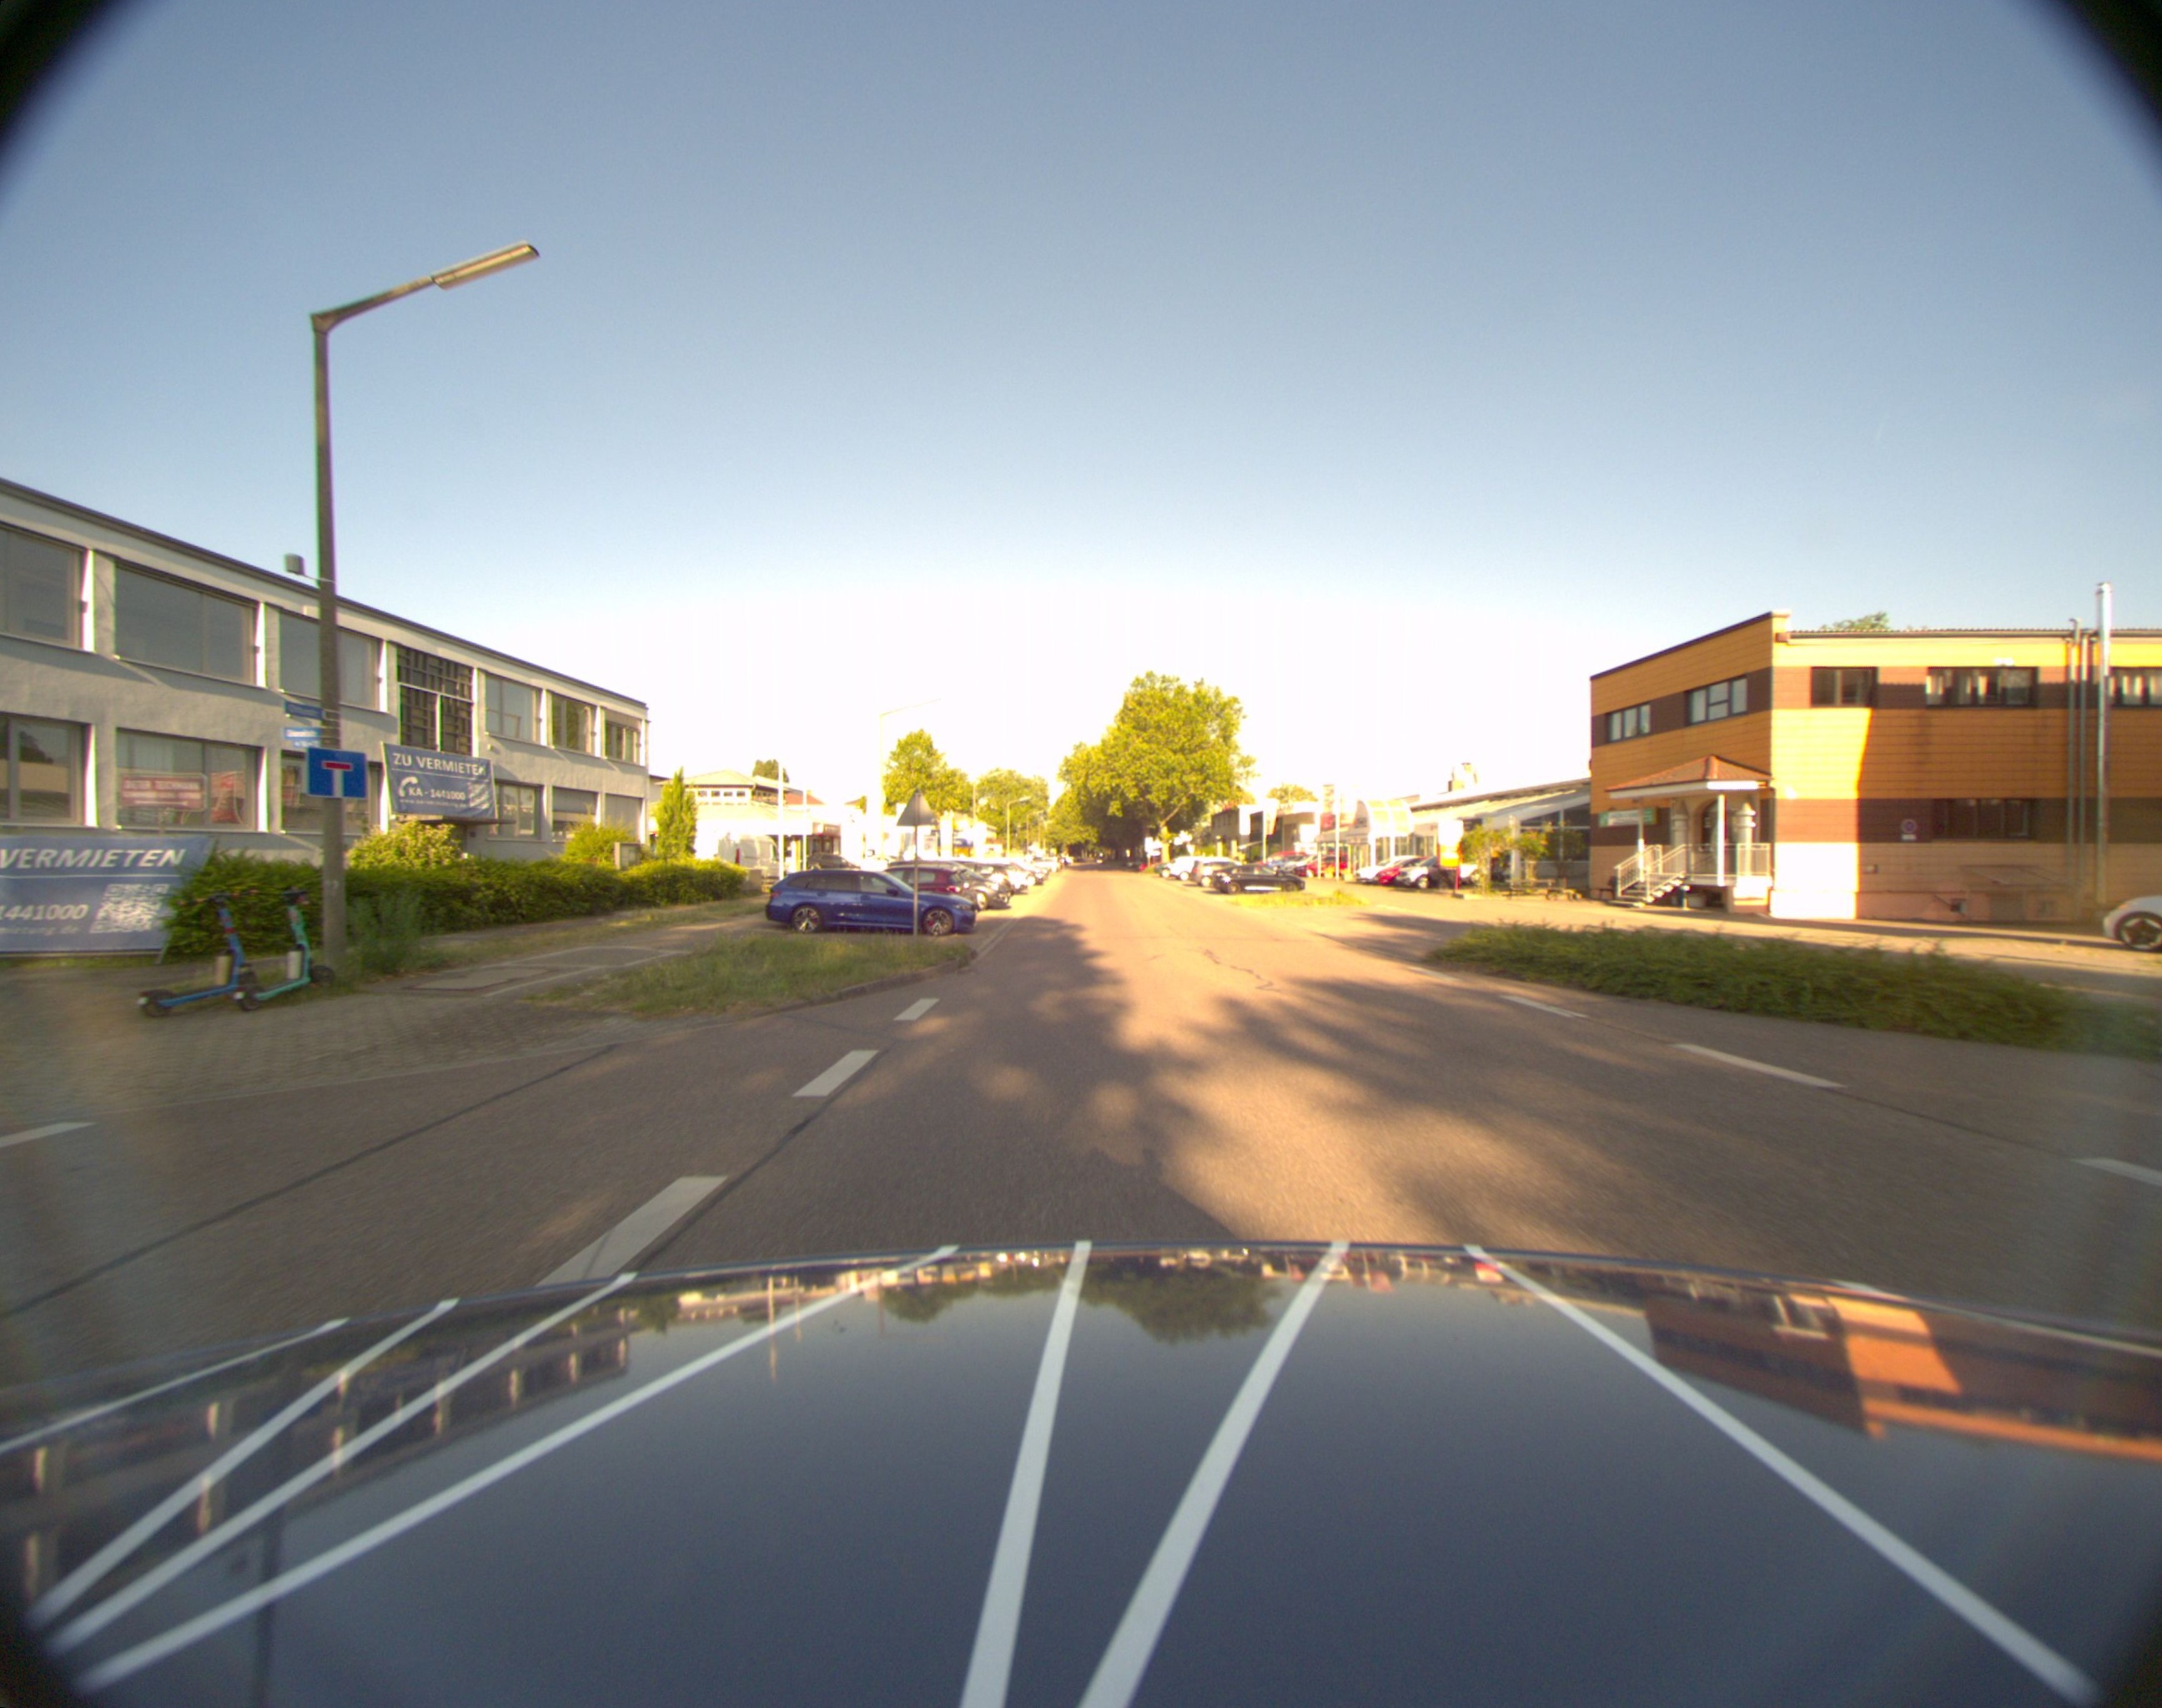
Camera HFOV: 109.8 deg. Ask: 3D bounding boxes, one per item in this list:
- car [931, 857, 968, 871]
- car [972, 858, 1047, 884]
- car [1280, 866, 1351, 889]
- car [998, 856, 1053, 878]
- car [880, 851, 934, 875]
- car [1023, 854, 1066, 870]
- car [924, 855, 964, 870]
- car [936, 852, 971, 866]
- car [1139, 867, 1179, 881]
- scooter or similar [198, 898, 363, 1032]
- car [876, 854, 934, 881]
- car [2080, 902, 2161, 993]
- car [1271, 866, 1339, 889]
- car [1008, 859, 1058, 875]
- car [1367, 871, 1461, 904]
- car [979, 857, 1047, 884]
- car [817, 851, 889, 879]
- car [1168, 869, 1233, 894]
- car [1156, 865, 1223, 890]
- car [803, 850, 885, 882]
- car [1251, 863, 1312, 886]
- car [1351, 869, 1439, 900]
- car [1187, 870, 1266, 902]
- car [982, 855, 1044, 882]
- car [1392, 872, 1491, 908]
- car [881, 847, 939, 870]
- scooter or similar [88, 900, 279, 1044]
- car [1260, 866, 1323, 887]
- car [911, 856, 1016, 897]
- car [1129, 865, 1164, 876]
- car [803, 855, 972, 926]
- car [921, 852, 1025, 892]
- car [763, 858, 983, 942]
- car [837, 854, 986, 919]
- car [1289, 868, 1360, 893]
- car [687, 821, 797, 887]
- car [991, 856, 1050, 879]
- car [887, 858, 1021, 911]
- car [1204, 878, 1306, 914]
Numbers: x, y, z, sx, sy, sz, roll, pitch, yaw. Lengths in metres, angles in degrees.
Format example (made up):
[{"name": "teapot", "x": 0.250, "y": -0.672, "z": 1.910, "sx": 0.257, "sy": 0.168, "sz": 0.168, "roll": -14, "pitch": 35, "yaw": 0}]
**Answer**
[{"name": "car", "x": -15.426, "y": 1.140, "z": 89.192, "sx": 3.998, "sy": 1.510, "sz": 1.952, "roll": -1, "pitch": 0, "yaw": -4}, {"name": "car", "x": -4.432, "y": 1.037, "z": 47.605, "sx": 4.448, "sy": 1.427, "sz": 2.135, "roll": 2, "pitch": 0, "yaw": 0}, {"name": "car", "x": 17.577, "y": 1.768, "z": 57.132, "sx": 4.673, "sy": 1.583, "sz": 1.928, "roll": -1, "pitch": 0, "yaw": -1}, {"name": "car", "x": -4.132, "y": 0.960, "z": 56.967, "sx": 3.998, "sy": 1.578, "sz": 1.867, "roll": 1, "pitch": 0, "yaw": -3}, {"name": "car", "x": -14.331, "y": 0.776, "z": 62.767, "sx": 3.943, "sy": 1.886, "sz": 2.203, "roll": -1, "pitch": -2, "yaw": 0}, {"name": "car", "x": -4.113, "y": 0.892, "z": 85.761, "sx": 4.612, "sy": 1.604, "sz": 2.000, "roll": 3, "pitch": 1, "yaw": 0}, {"name": "car", "x": -14.897, "y": 0.952, "z": 82.862, "sx": 3.998, "sy": 1.510, "sz": 1.999, "roll": -1, "pitch": 0, "yaw": -4}, {"name": "car", "x": -15.477, "y": 0.595, "z": 92.368, "sx": 3.998, "sy": 1.488, "sz": 1.999, "roll": -1, "pitch": 0, "yaw": -4}, {"name": "car", "x": 8.758, "y": 2.245, "z": 85.666, "sx": 4.307, "sy": 1.438, "sz": 2.000, "roll": -2, "pitch": 1, "yaw": 0}, {"name": "scooter or similar", "x": -8.812, "y": 1.176, "z": 8.430, "sx": 0.443, "sy": 1.291, "sz": 1.295, "roll": -1, "pitch": 1, "yaw": -2}, {"name": "car", "x": -13.321, "y": 1.015, "z": 57.673, "sx": 3.912, "sy": 1.888, "sz": 1.786, "roll": 0, "pitch": 2, "yaw": 0}, {"name": "car", "x": 20.280, "y": 1.639, "z": 12.477, "sx": 1.998, "sy": 1.567, "sz": 4.342, "roll": -1, "pitch": -2, "yaw": 0}, {"name": "car", "x": 17.491, "y": 1.847, "z": 59.488, "sx": 4.731, "sy": 1.633, "sz": 2.000, "roll": -1, "pitch": 0, "yaw": -1}, {"name": "car", "x": -4.029, "y": 1.095, "z": 64.252, "sx": 3.996, "sy": 1.288, "sz": 1.784, "roll": 1, "pitch": 0, "yaw": 3}, {"name": "car", "x": 17.266, "y": 1.730, "z": 39.546, "sx": 3.997, "sy": 1.546, "sz": 2.000, "roll": -1, "pitch": 0, "yaw": 0}, {"name": "car", "x": -4.412, "y": 1.070, "z": 49.600, "sx": 4.254, "sy": 1.596, "sz": 1.745, "roll": -1, "pitch": 1, "yaw": -4}, {"name": "car", "x": -14.592, "y": 0.707, "z": 48.784, "sx": 3.997, "sy": 1.650, "sz": 2.000, "roll": 2, "pitch": 1, "yaw": 1}, {"name": "car", "x": 8.685, "y": 2.014, "z": 55.646, "sx": 4.314, "sy": 1.646, "sz": 2.201, "roll": -1, "pitch": 1, "yaw": -2}, {"name": "car", "x": 9.037, "y": 1.928, "z": 63.735, "sx": 5.273, "sy": 1.887, "sz": 2.201, "roll": -1, "pitch": 1, "yaw": 0}, {"name": "car", "x": -14.067, "y": 0.715, "z": 45.262, "sx": 4.154, "sy": 1.761, "sz": 2.000, "roll": 2, "pitch": 1, "yaw": 1}, {"name": "car", "x": 17.682, "y": 1.799, "z": 67.132, "sx": 4.758, "sy": 1.809, "sz": 2.000, "roll": -1, "pitch": 1, "yaw": -1}, {"name": "car", "x": 17.340, "y": 1.655, "z": 42.114, "sx": 3.997, "sy": 1.546, "sz": 2.000, "roll": -1, "pitch": 0, "yaw": 0}, {"name": "car", "x": 8.575, "y": 1.880, "z": 45.049, "sx": 4.242, "sy": 1.646, "sz": 2.201, "roll": -1, "pitch": 1, "yaw": -2}, {"name": "car", "x": -4.599, "y": 0.973, "z": 52.092, "sx": 4.120, "sy": 1.729, "sz": 1.883, "roll": -1, "pitch": 1, "yaw": -3}, {"name": "car", "x": 17.522, "y": 1.731, "z": 37.082, "sx": 3.920, "sy": 1.546, "sz": 1.888, "roll": -1, "pitch": 0, "yaw": 0}, {"name": "car", "x": -14.808, "y": 0.369, "z": 66.006, "sx": 4.507, "sy": 1.887, "sz": 2.201, "roll": -1, "pitch": 1, "yaw": 0}, {"name": "scooter or similar", "x": -9.311, "y": 1.171, "z": 7.954, "sx": 0.443, "sy": 1.291, "sz": 1.295, "roll": -1, "pitch": 1, "yaw": -2}, {"name": "car", "x": 17.771, "y": 1.911, "z": 64.291, "sx": 4.726, "sy": 1.624, "sz": 2.000, "roll": -1, "pitch": 0, "yaw": -1}, {"name": "car", "x": -5.089, "y": 0.972, "z": 33.362, "sx": 4.259, "sy": 1.614, "sz": 1.920, "roll": 2, "pitch": 0, "yaw": -1}, {"name": "car", "x": 9.092, "y": 2.299, "z": 105.592, "sx": 4.611, "sy": 1.413, "sz": 2.000, "roll": 0, "pitch": -1, "yaw": 0}, {"name": "car", "x": -5.038, "y": 0.937, "z": 20.194, "sx": 3.998, "sy": 1.643, "sz": 1.742, "roll": 3, "pitch": 0, "yaw": -2}, {"name": "car", "x": -4.987, "y": 0.822, "z": 35.742, "sx": 4.567, "sy": 1.588, "sz": 2.201, "roll": 3, "pitch": 0, "yaw": -2}, {"name": "car", "x": -4.642, "y": 1.021, "z": 17.474, "sx": 4.536, "sy": 1.663, "sz": 1.753, "roll": 2, "pitch": 0, "yaw": -3}, {"name": "car", "x": -5.024, "y": 0.938, "z": 22.940, "sx": 3.997, "sy": 1.643, "sz": 1.801, "roll": 3, "pitch": 1, "yaw": 1}, {"name": "car", "x": 17.379, "y": 1.880, "z": 54.309, "sx": 4.475, "sy": 1.544, "sz": 1.836, "roll": -1, "pitch": 0, "yaw": -1}, {"name": "car", "x": -14.773, "y": -0.008, "z": 33.597, "sx": 1.998, "sy": 2.610, "sz": 6.137, "roll": -1, "pitch": 0, "yaw": 0}, {"name": "car", "x": -4.328, "y": 0.960, "z": 54.795, "sx": 4.120, "sy": 1.608, "sz": 2.058, "roll": 1, "pitch": 0, "yaw": -3}, {"name": "car", "x": -4.235, "y": 0.988, "z": 25.689, "sx": 3.994, "sy": 1.604, "sz": 2.001, "roll": 1, "pitch": 1, "yaw": 7}, {"name": "car", "x": 8.316, "y": 1.993, "z": 36.522, "sx": 4.325, "sy": 1.451, "sz": 2.201, "roll": -1, "pitch": 1, "yaw": -2}]
